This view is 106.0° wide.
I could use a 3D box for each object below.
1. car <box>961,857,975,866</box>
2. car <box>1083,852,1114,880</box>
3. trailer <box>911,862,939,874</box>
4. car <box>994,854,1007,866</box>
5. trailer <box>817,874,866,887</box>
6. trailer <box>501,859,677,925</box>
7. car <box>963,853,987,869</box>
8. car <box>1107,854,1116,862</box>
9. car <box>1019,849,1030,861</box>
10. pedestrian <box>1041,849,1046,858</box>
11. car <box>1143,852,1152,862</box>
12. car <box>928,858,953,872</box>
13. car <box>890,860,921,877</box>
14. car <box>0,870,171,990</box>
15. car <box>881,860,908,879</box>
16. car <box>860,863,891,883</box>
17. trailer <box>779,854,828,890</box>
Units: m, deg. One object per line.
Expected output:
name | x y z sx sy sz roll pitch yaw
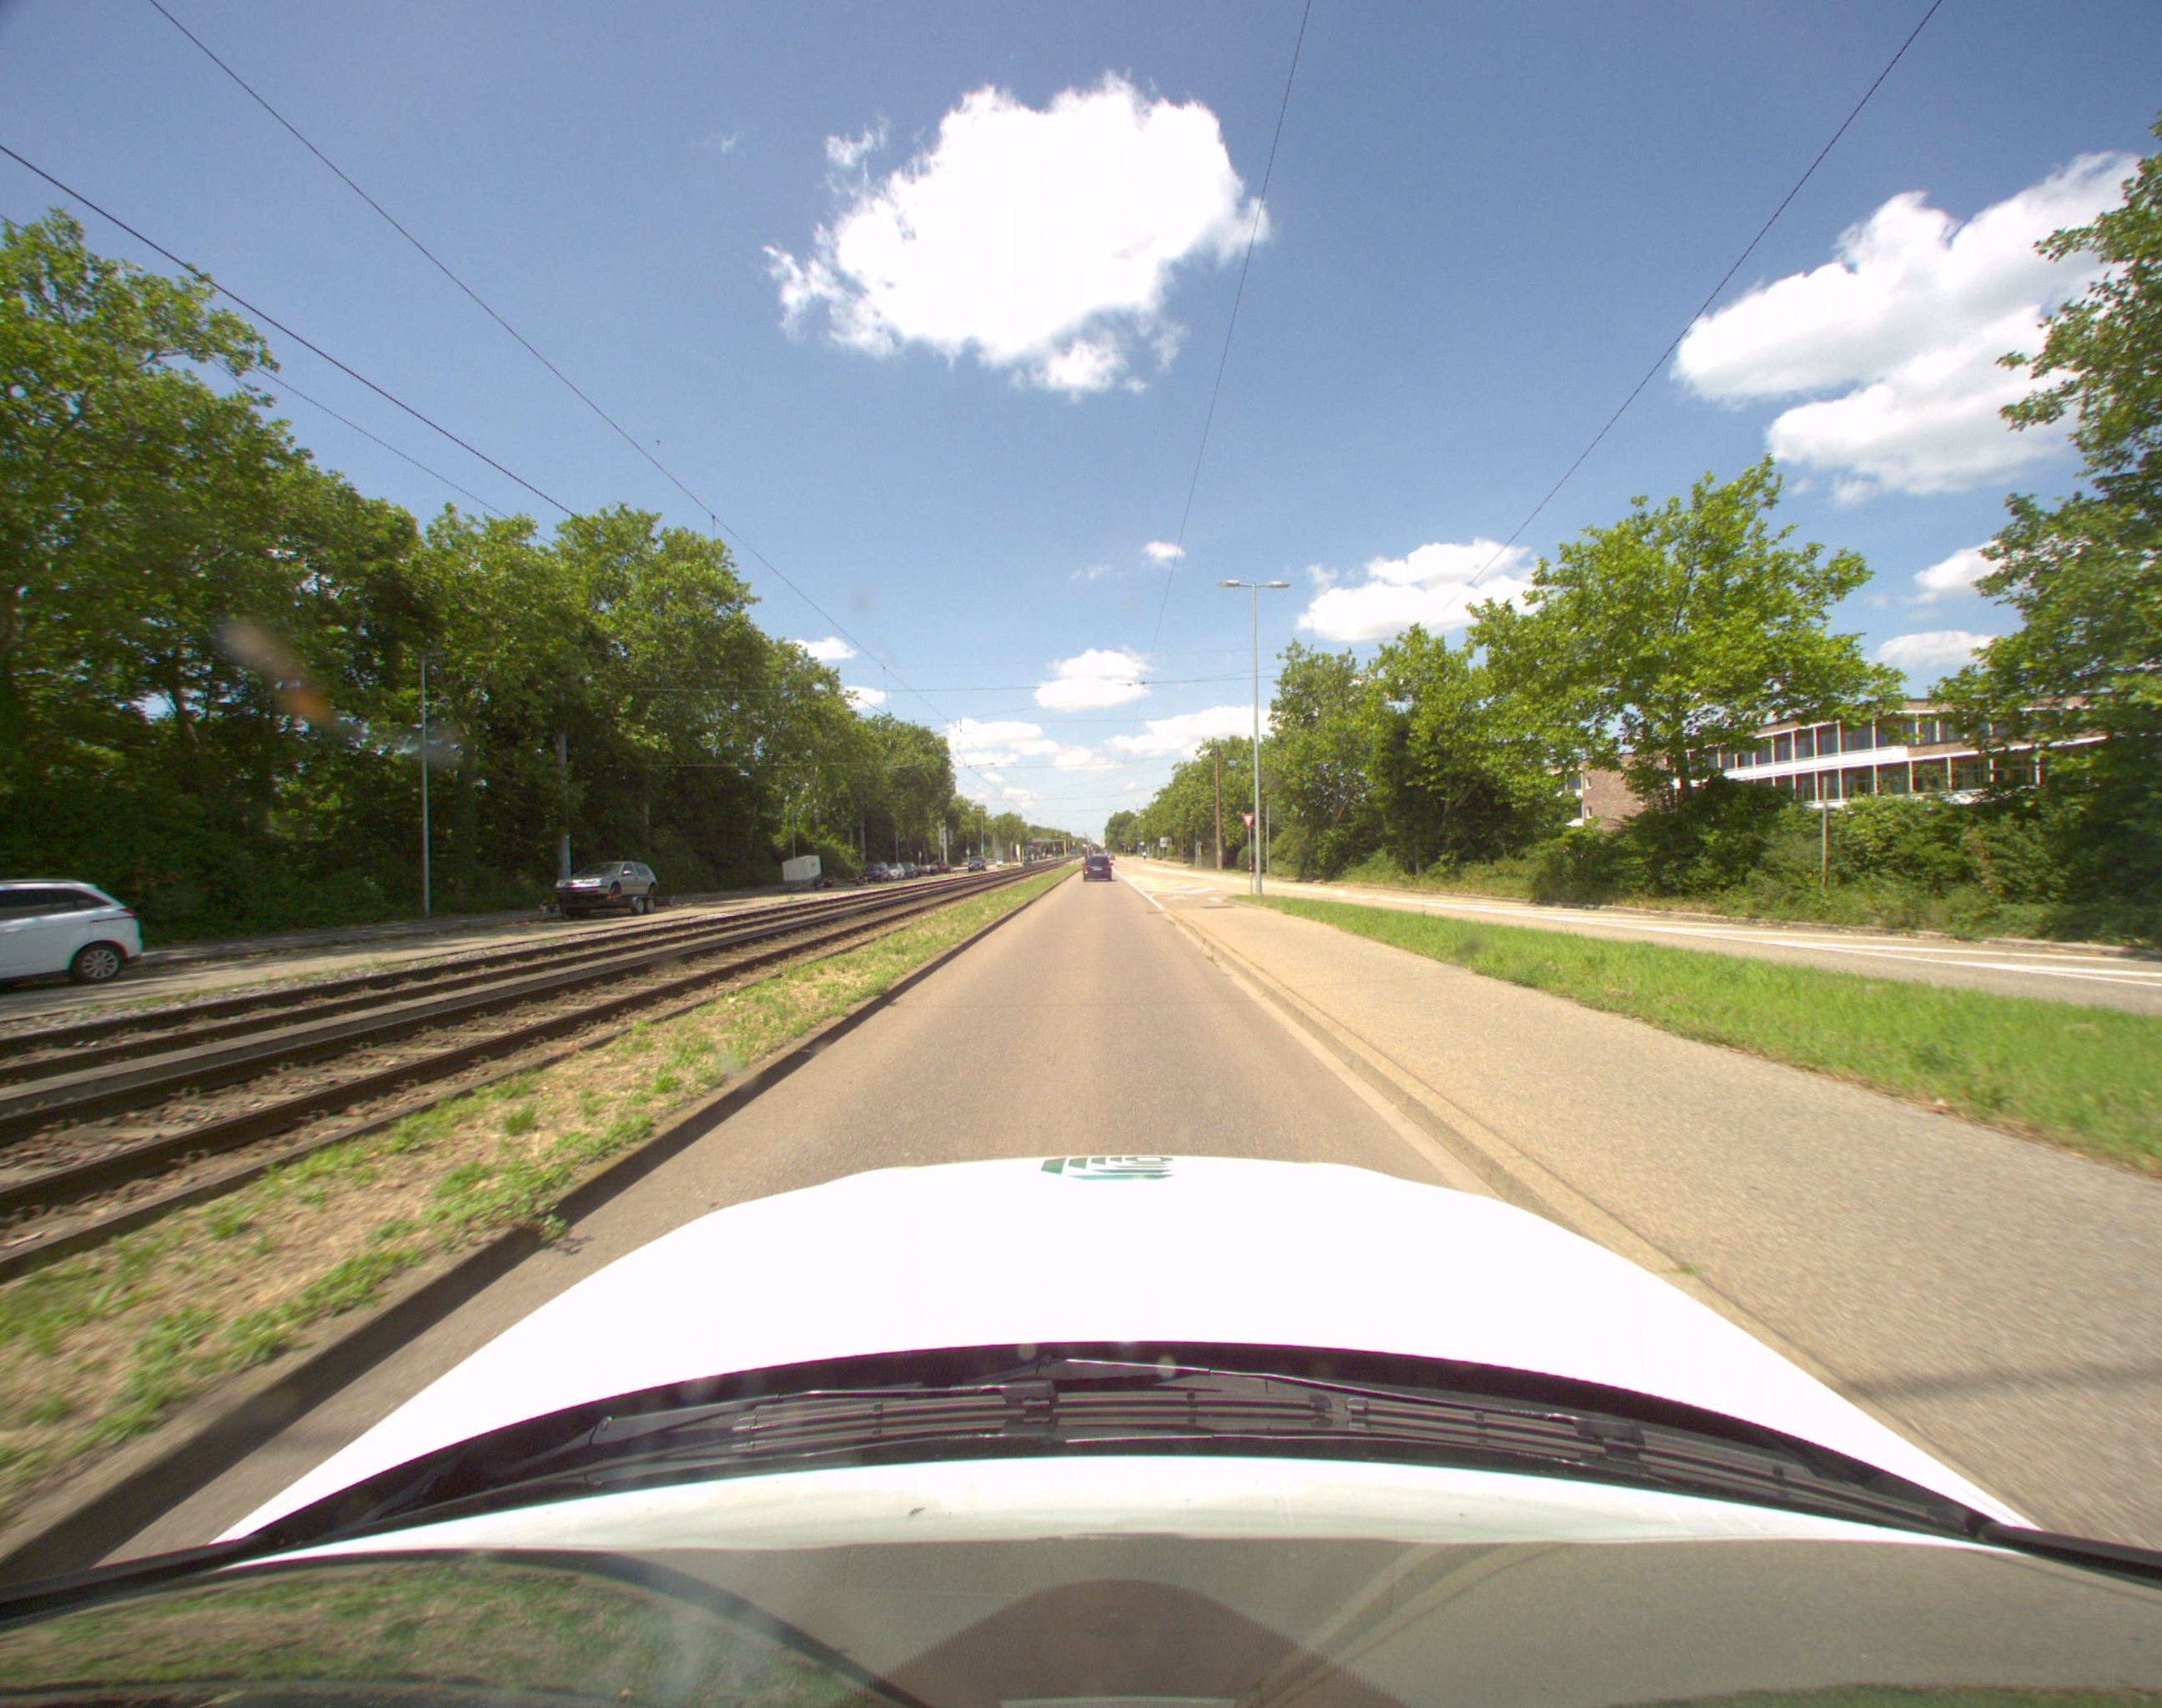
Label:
car | -21.687 1.450 156.283 1.986 1.574 4.002 -1 0 2
car | 1.104 0.703 50.761 1.846 1.570 4.391 0 2 2
trailer | -15.929 1.434 83.512 1.887 1.044 5.103 0 0 0
car | -13.738 0.979 138.907 1.989 2.013 3.996 0 1 -3
trailer | -15.811 1.737 54.064 1.986 0.742 4.000 -1 -1 1
trailer | -16.090 1.132 27.190 2.456 1.889 5.955 -1 0 -3
car | -13.000 0.846 100.090 2.109 1.790 5.406 -1 0 1
car | 7.101 0.990 188.099 1.877 1.639 4.003 2 1 2
car | -10.225 0.205 147.799 1.580 2.013 4.110 0 1 0
pedestrian | -8.638 -0.086 187.906 0.949 2.013 0.892 0 1 1
car | 13.671 0.578 168.515 1.607 2.013 3.440 0 1 1
car | -15.964 1.237 92.645 1.987 1.574 4.000 -1 0 1
car | -15.965 1.291 74.249 1.865 1.401 4.417 -1 0 -1
car | -16.463 1.213 11.573 1.714 1.630 4.616 -4 1 0
car | -15.686 1.293 68.791 1.429 1.451 3.740 -1 0 -1
car | -15.696 1.442 62.372 1.429 1.451 3.920 -1 0 -1
trailer | -16.200 1.004 47.646 1.605 2.013 3.913 0 0 -2
